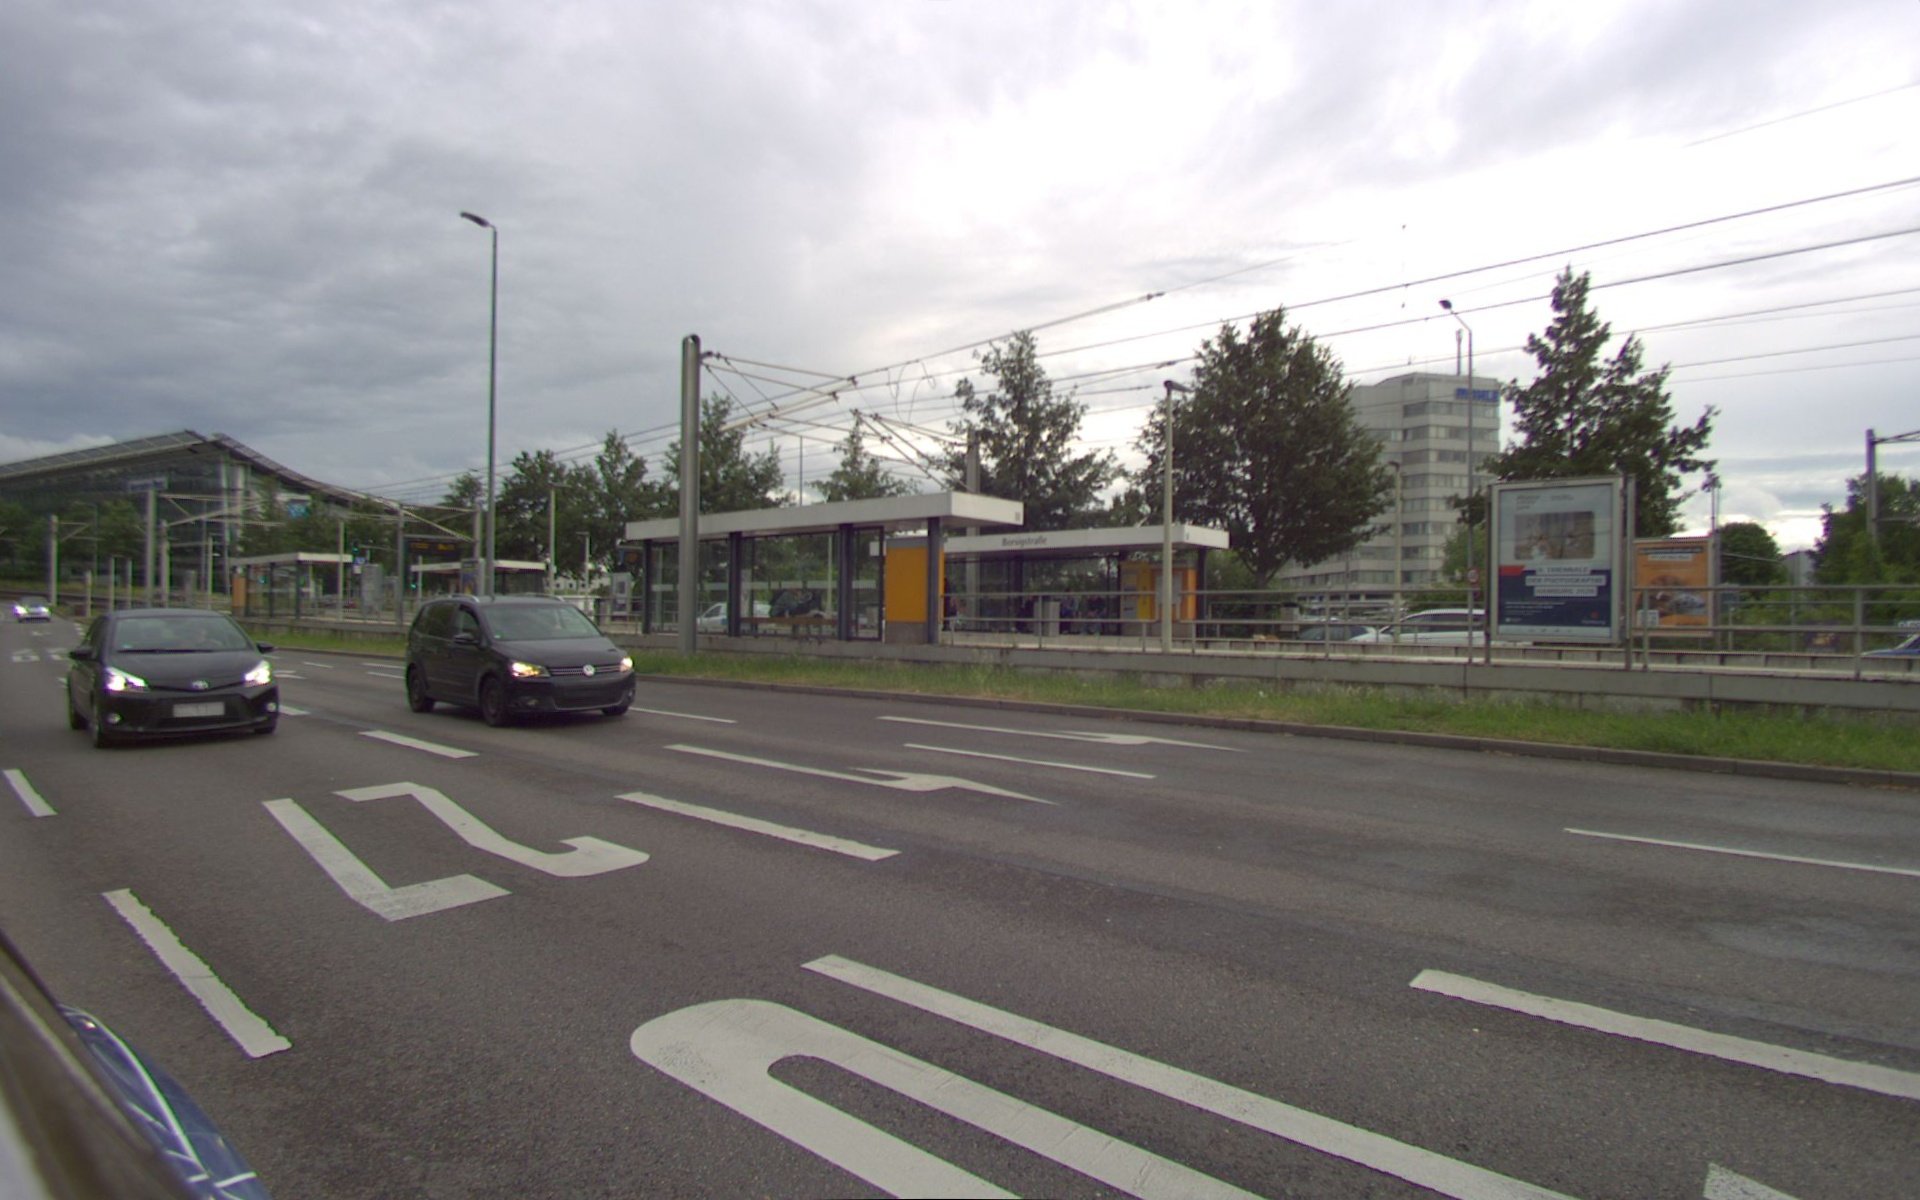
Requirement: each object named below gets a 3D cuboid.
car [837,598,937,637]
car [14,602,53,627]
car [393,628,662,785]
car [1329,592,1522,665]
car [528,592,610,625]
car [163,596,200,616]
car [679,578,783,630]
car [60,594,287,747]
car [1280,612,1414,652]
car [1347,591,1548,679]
[{"bbox_3d":[-3.495,0.785,48.228,4.663,1.712,2.083,1,1,41],"label":"car"},{"bbox_3d":[-57.768,0.872,63.062,1.715,1.489,4.003,-1,0,-44],"label":"car"},{"bbox_3d":[-5.899,1.274,13.565,4.192,1.604,1.708,1,1,42],"label":"car"},{"bbox_3d":[11.829,0.657,25.892,4.266,1.679,1.512,1,1,41],"label":"car"},{"bbox_3d":[-21.447,0.425,55.431,5.026,1.744,1.974,1,1,40],"label":"car"},{"bbox_3d":[-75.591,0.589,98.257,3.994,1.861,1.975,0,1,38],"label":"car"},{"bbox_3d":[-10.357,0.138,45.620,5.143,2.231,1.972,1,1,42],"label":"car"},{"bbox_3d":[-9.594,0.755,12.233,3.906,1.534,1.673,-2,-1,45],"label":"car"},{"bbox_3d":[12.835,1.024,33.673,3.931,1.139,1.511,1,1,40],"label":"car"},{"bbox_3d":[12.361,0.801,25.794,4.344,2.029,1.755,1,1,40],"label":"car"}]
